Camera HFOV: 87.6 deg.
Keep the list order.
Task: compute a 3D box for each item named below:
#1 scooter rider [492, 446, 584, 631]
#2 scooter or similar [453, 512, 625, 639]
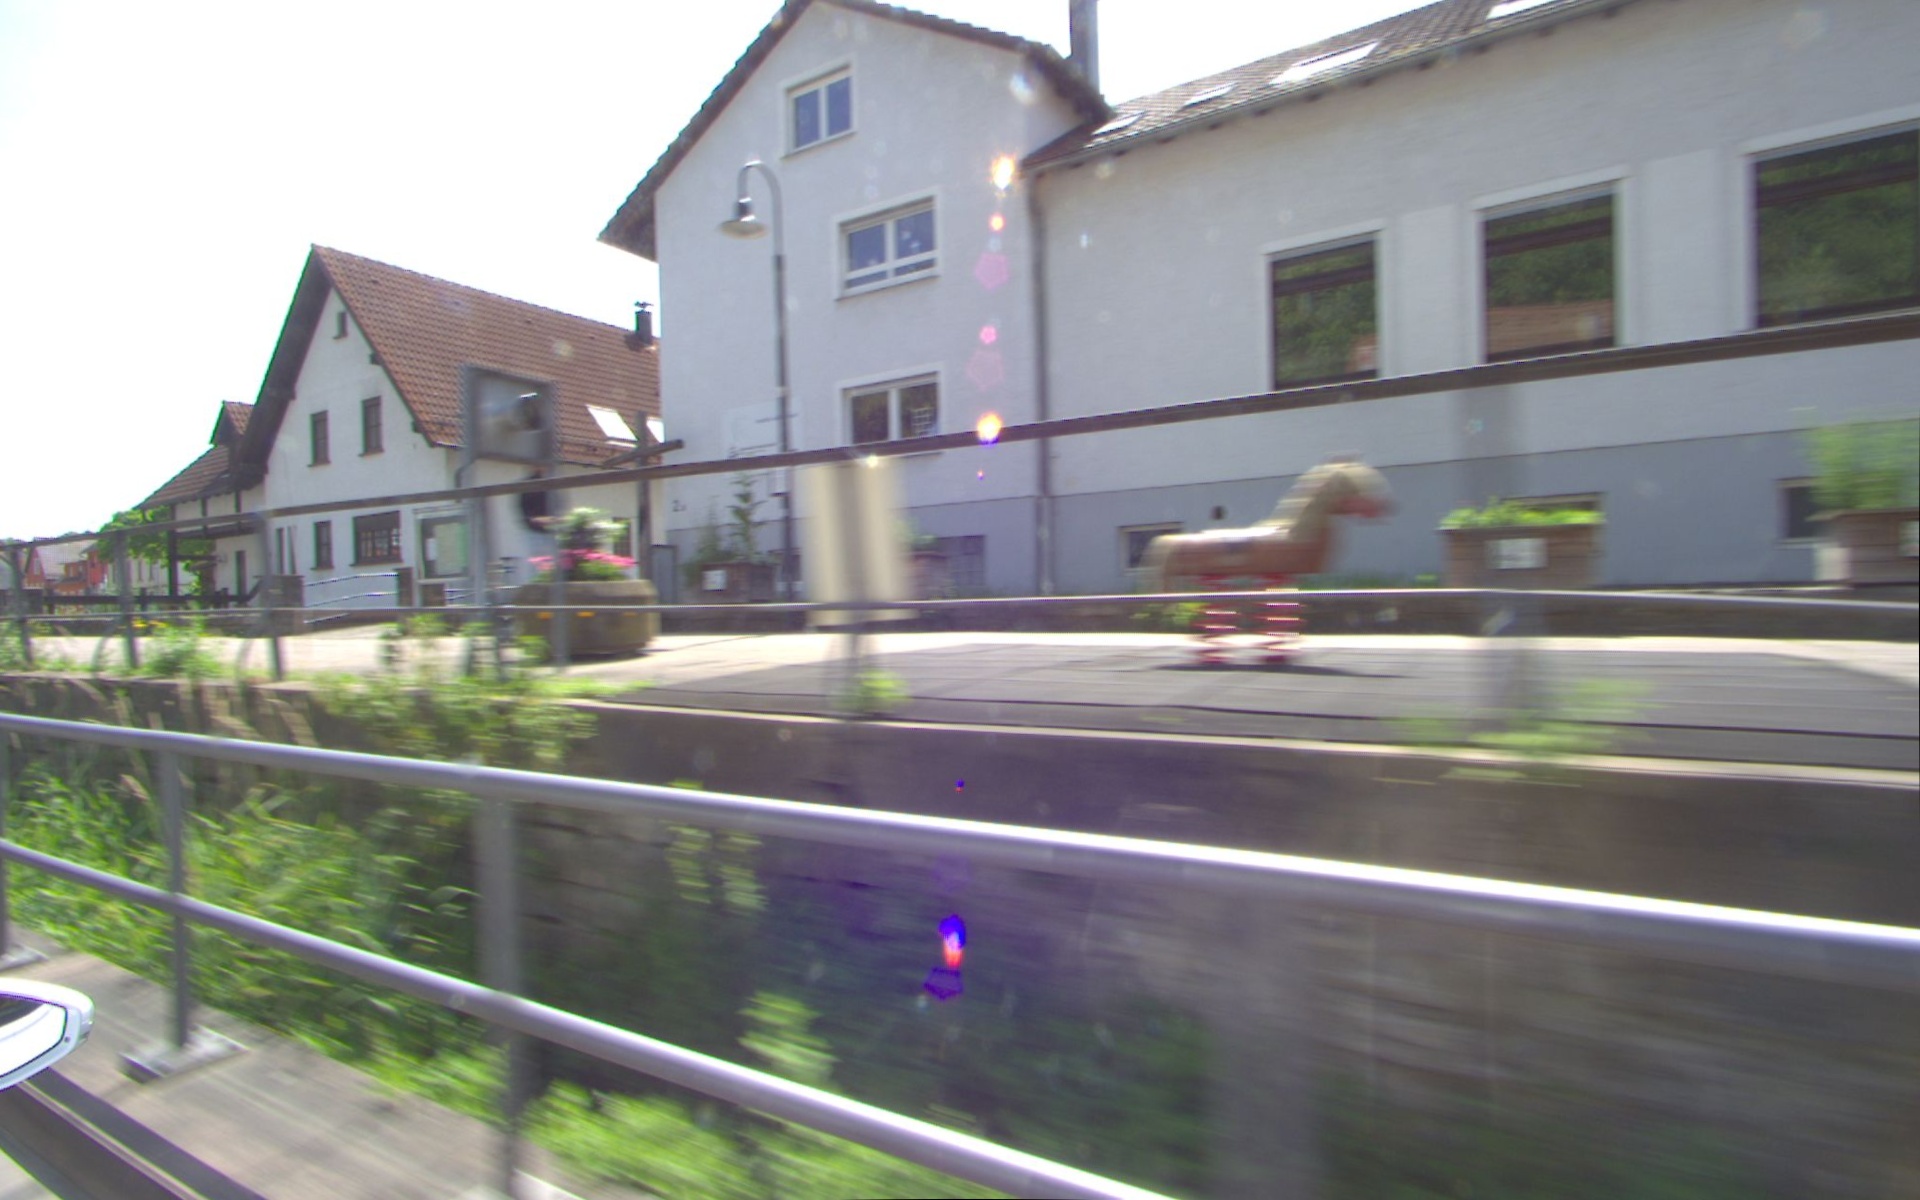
[{"bbox_3d":[-4.181,-0.580,9.932,0.546,1.754,0.640,-1,0,33],"label":"scooter rider"},{"bbox_3d":[-4.184,-0.213,9.906,1.786,1.157,0.639,-1,1,33],"label":"scooter or similar"}]
